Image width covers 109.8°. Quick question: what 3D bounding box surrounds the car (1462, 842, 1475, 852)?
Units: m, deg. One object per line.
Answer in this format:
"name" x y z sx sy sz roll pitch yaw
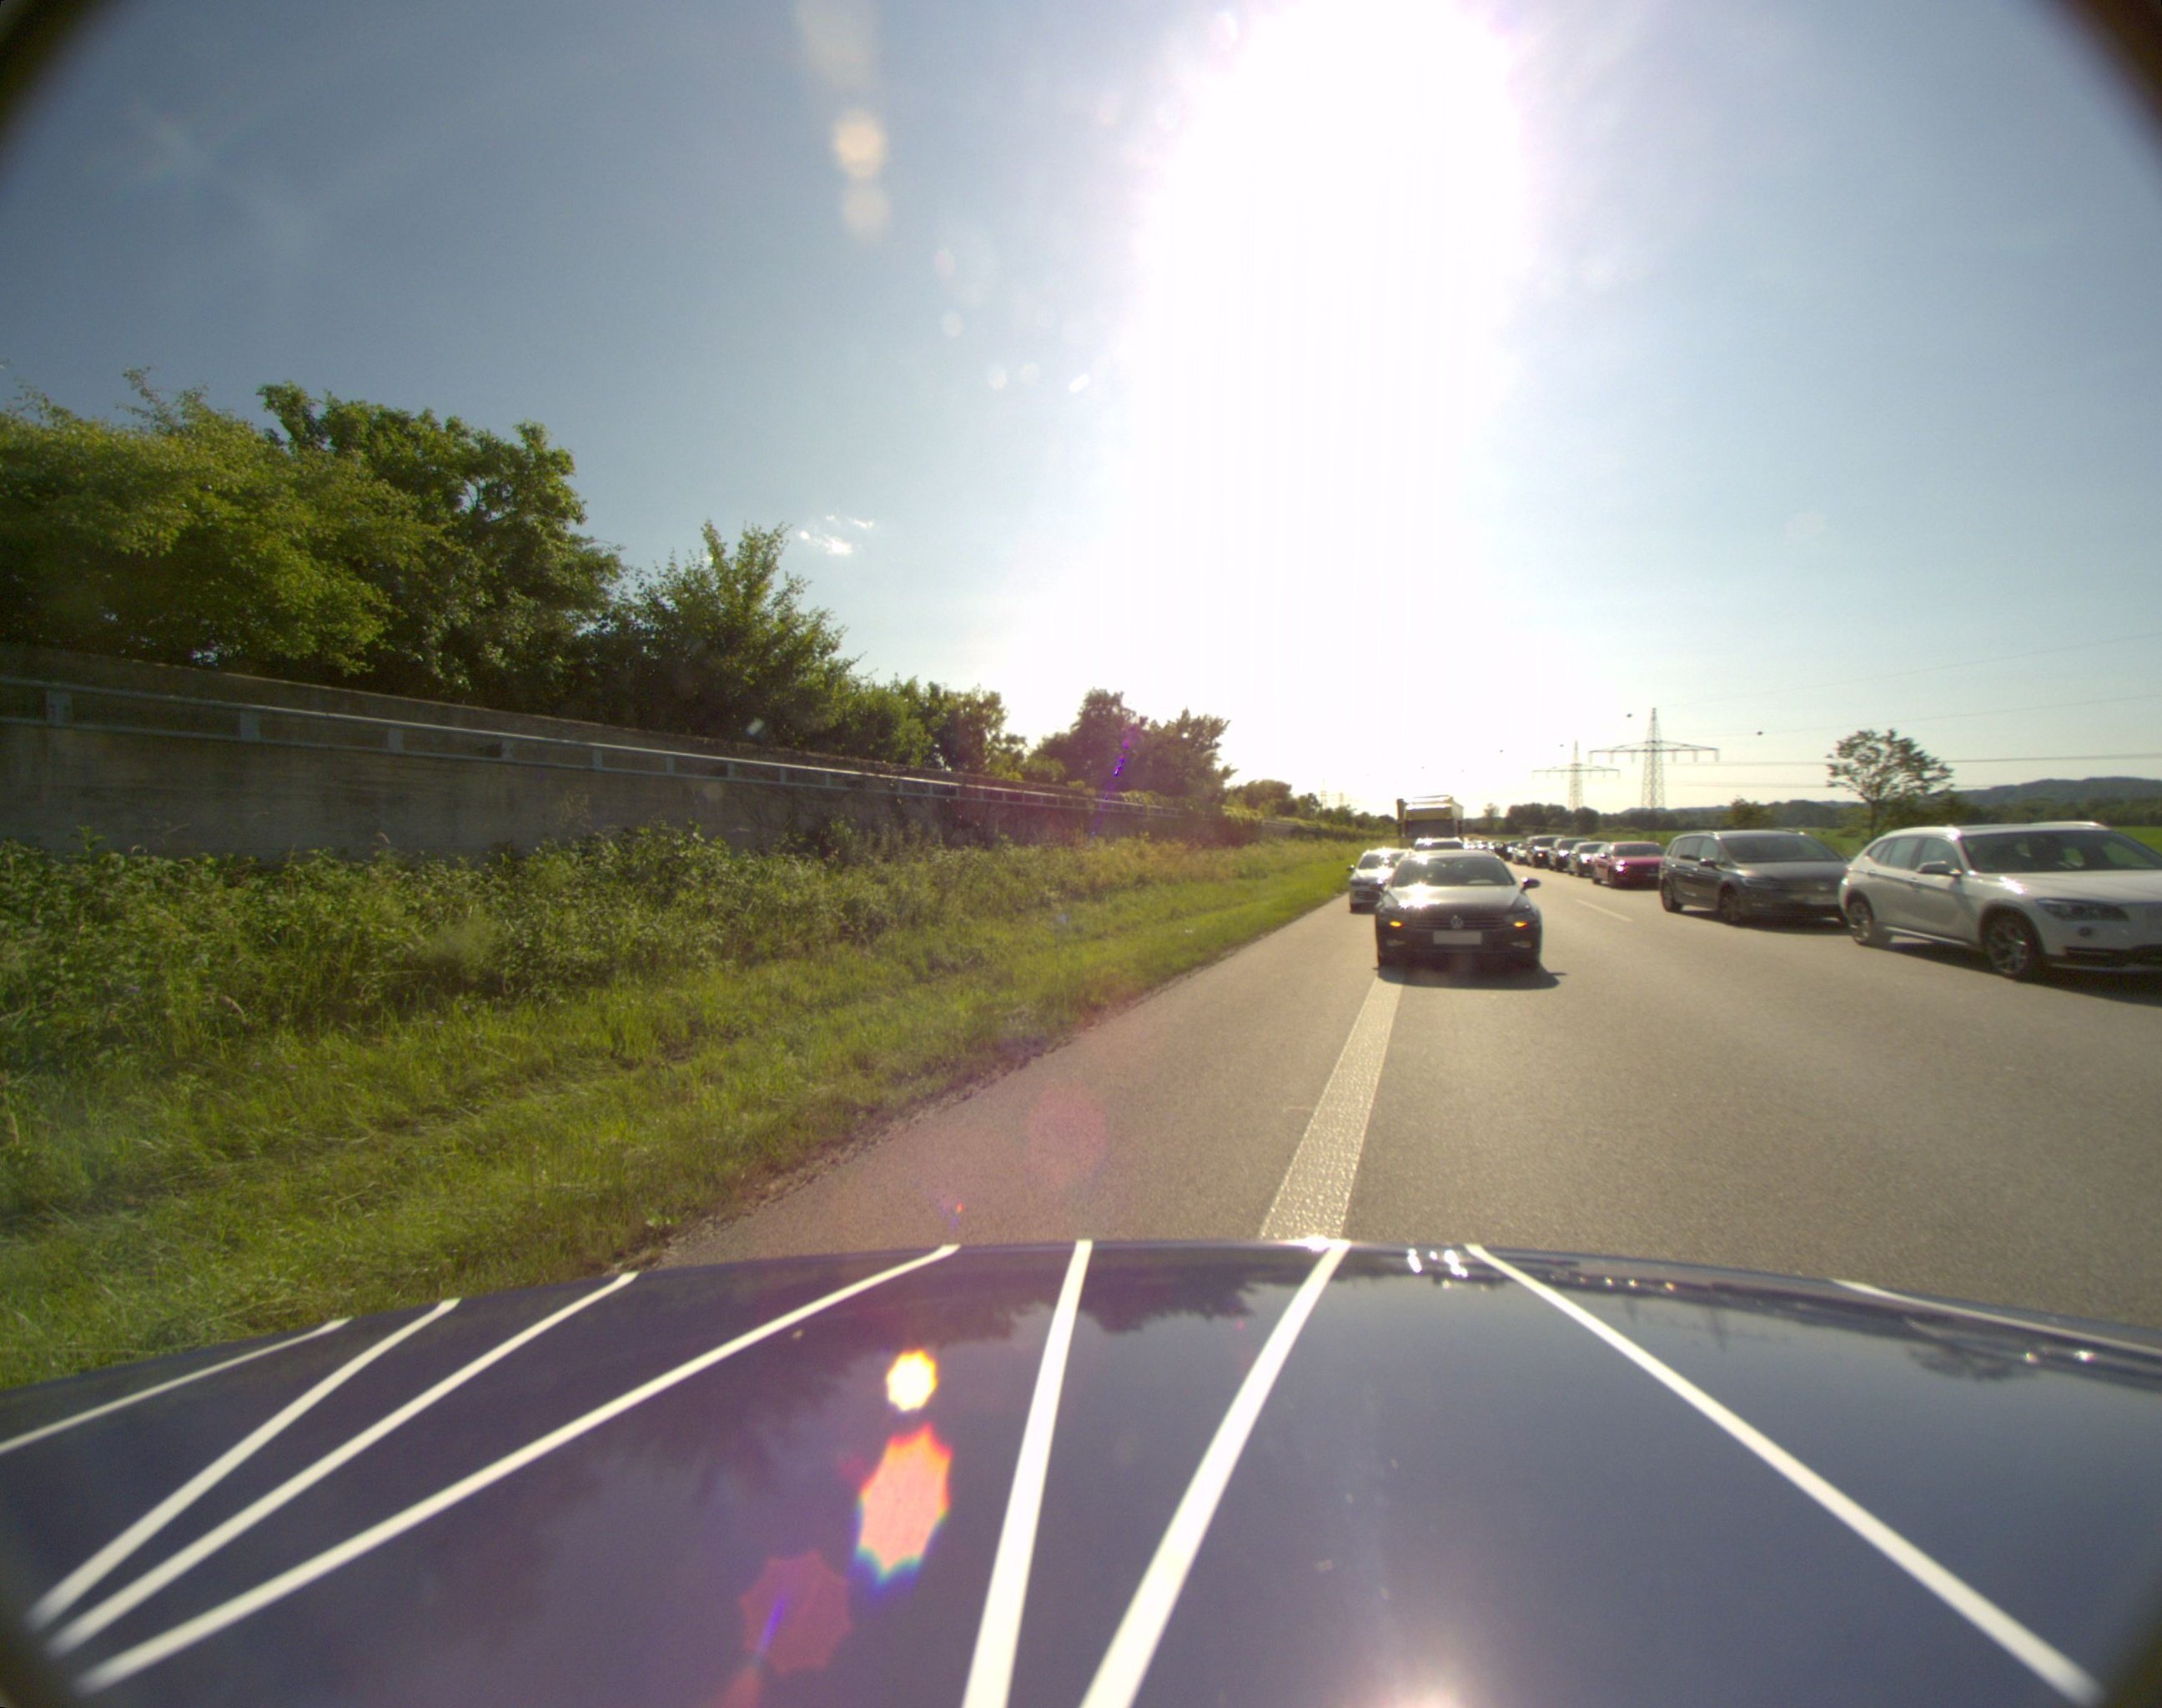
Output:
"car" 60.335 -1.113 118.350 1.816 1.450 4.124 0 1 26

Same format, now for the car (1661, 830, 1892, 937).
"car" 12.121 0.436 13.615 1.817 1.606 4.124 -2 0 24

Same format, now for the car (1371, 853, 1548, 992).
"car" 5.060 0.756 10.363 1.714 1.405 4.332 -2 0 25

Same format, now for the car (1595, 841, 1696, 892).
"car" 17.691 0.332 24.018 1.816 1.450 4.124 0 1 26

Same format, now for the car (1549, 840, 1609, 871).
"car" 24.344 0.053 37.265 1.891 1.447 4.006 -1 1 25

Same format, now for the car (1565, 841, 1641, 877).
"car" 21.715 0.186 31.761 1.892 1.390 4.006 -1 1 24

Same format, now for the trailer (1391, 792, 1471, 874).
"trailer" 21.272 -1.224 45.573 3.382 4.089 13.976 -2 1 28

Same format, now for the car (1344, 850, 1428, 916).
"car" 7.865 0.669 19.349 1.714 1.417 4.332 -2 0 25

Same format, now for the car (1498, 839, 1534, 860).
"car" 33.585 -0.341 58.737 1.995 1.522 4.006 -1 1 24

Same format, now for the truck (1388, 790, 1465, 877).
"truck" 18.371 -1.057 40.187 3.328 4.089 6.981 -2 1 26

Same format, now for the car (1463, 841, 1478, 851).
"car" 57.978 -1.199 113.206 1.817 1.450 4.124 -2 0 26

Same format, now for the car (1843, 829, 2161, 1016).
"car" 10.360 0.546 8.114 1.829 1.564 4.170 -1 1 25

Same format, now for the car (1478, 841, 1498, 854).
"car" 46.442 -0.717 86.766 1.816 1.450 4.124 0 1 26

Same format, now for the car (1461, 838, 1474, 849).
"car" 64.418 -1.729 126.757 1.810 1.783 3.779 -1 1 24

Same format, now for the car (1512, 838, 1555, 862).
"car" 29.838 -0.274 50.215 1.995 1.522 4.006 -1 1 24

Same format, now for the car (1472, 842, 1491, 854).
"car" 49.790 -0.783 94.516 1.817 1.450 4.124 -2 0 25

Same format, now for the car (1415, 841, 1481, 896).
"car" 11.851 0.411 24.638 1.714 1.614 4.332 -2 0 25

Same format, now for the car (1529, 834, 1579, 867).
"car" 27.055 -0.222 43.588 1.898 1.778 4.206 0 1 24
